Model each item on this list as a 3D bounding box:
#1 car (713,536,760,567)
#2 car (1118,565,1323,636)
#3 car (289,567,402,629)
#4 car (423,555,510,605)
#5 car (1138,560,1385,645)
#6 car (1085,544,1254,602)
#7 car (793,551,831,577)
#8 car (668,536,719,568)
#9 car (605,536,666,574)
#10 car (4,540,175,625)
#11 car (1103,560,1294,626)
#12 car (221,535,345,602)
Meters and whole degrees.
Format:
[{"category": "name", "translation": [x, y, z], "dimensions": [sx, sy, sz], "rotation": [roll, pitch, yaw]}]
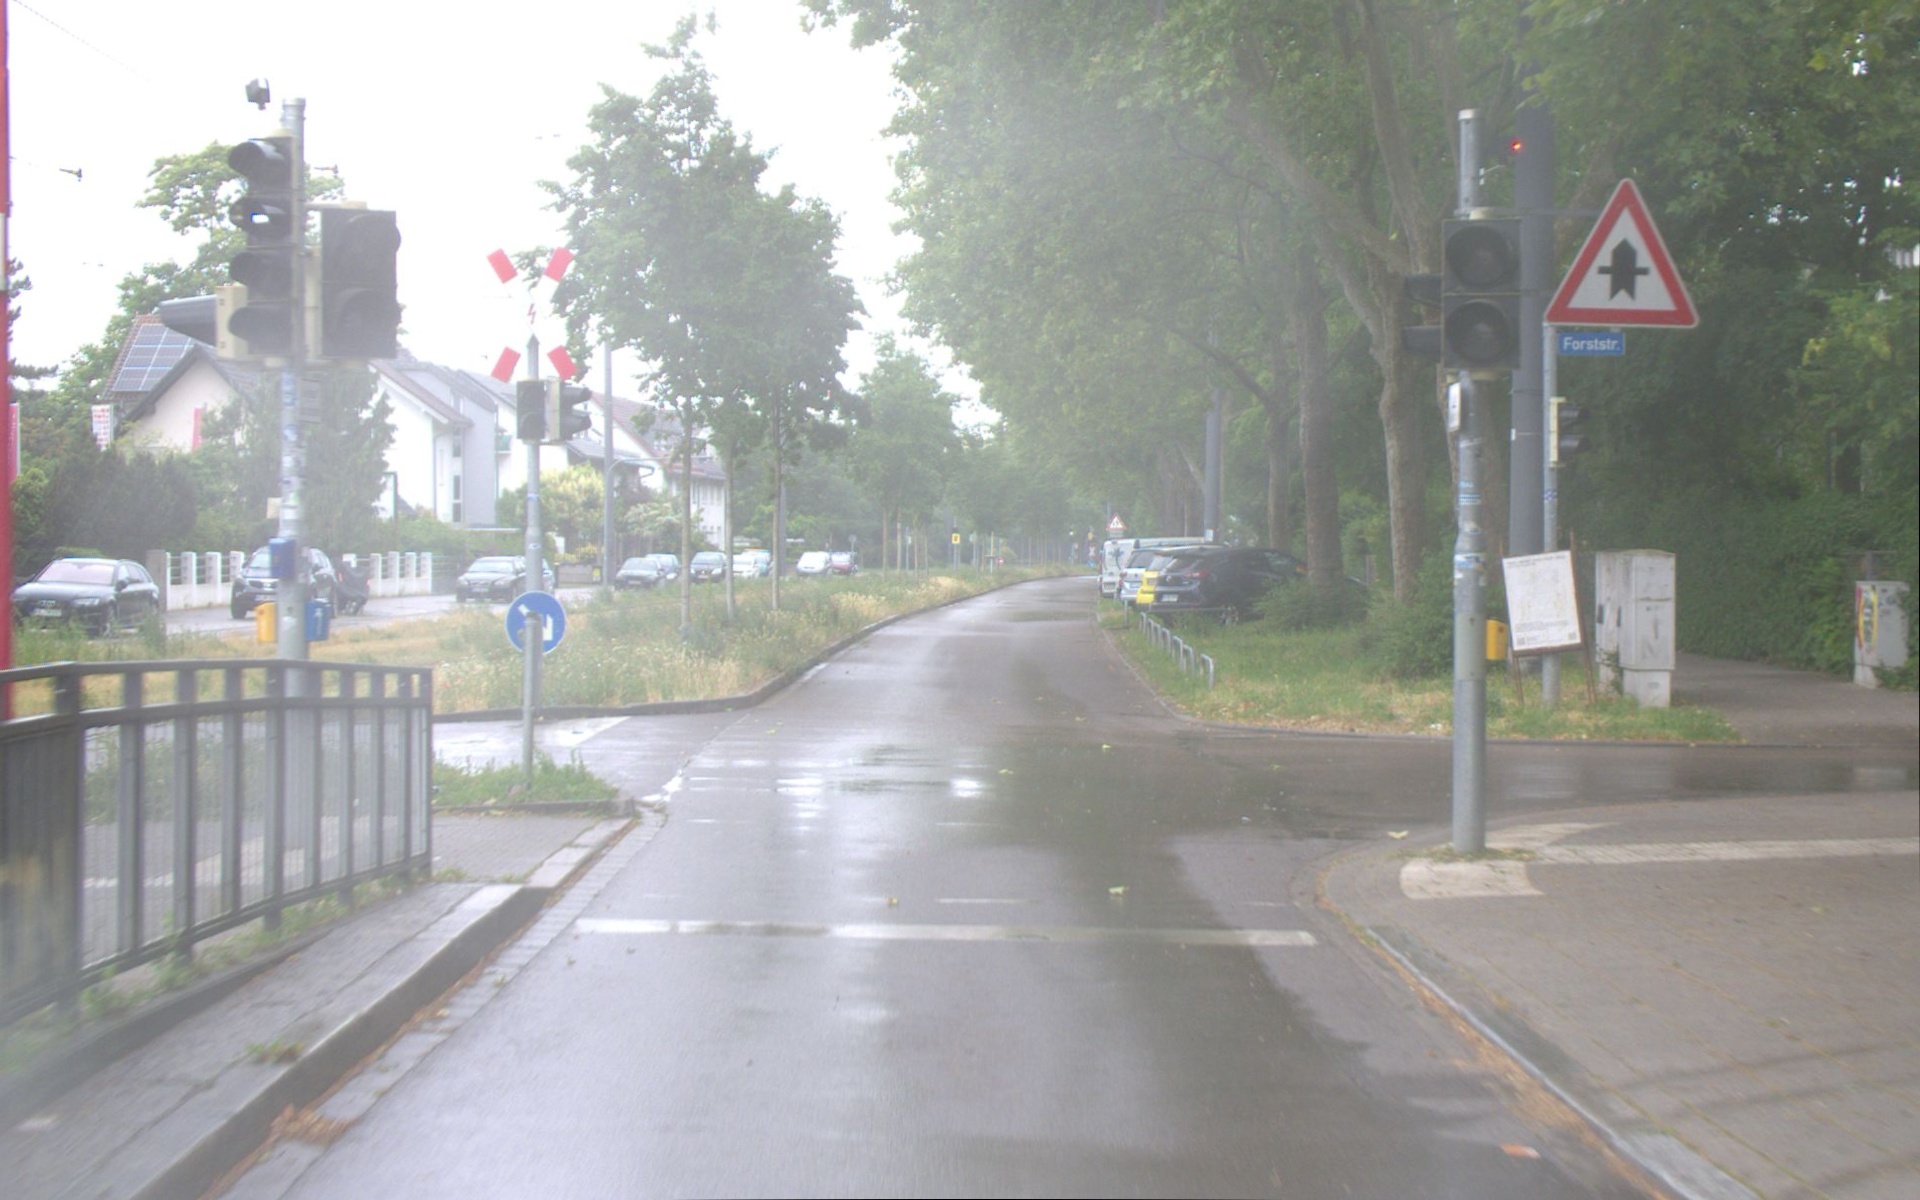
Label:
[{"category": "car", "translation": [-11.387, -2.467, 175.126], "dimensions": [1.928, 1.481, 4.000], "rotation": [1, 0, 2]}, {"category": "car", "translation": [5.644, 0.010, 74.634], "dimensions": [3.986, 1.448, 2.001], "rotation": [1, 0, -15]}, {"category": "car", "translation": [-15.415, -0.059, 86.412], "dimensions": [1.928, 1.481, 4.000], "rotation": [1, 0, 2]}, {"category": "car", "translation": [-15.243, -0.628, 106.396], "dimensions": [1.928, 1.481, 4.000], "rotation": [1, 0, 2]}, {"category": "car", "translation": [5.430, 0.038, 62.127], "dimensions": [3.986, 1.448, 2.001], "rotation": [1, 0, -15]}, {"category": "car", "translation": [5.488, -0.706, 90.456], "dimensions": [3.986, 1.448, 2.001], "rotation": [1, 0, -15]}, {"category": "car", "translation": [-8.816, -2.160, 205.123], "dimensions": [1.928, 1.481, 4.000], "rotation": [1, 0, 2]}, {"category": "car", "translation": [-12.648, -2.273, 163.179], "dimensions": [1.928, 1.481, 4.000], "rotation": [1, 0, 2]}, {"category": "car", "translation": [-13.281, -1.837, 140.771], "dimensions": [1.928, 1.481, 4.000], "rotation": [1, 0, 2]}, {"category": "car", "translation": [-15.843, -0.318, 62.783], "dimensions": [1.928, 1.481, 4.000], "rotation": [1, 0, 2]}, {"category": "car", "translation": [5.558, -0.175, 80.266], "dimensions": [3.986, 1.448, 2.001], "rotation": [1, 0, -15]}, {"category": "car", "translation": [-15.692, -0.725, 79.884], "dimensions": [1.928, 1.481, 4.000], "rotation": [1, 0, 2]}]
